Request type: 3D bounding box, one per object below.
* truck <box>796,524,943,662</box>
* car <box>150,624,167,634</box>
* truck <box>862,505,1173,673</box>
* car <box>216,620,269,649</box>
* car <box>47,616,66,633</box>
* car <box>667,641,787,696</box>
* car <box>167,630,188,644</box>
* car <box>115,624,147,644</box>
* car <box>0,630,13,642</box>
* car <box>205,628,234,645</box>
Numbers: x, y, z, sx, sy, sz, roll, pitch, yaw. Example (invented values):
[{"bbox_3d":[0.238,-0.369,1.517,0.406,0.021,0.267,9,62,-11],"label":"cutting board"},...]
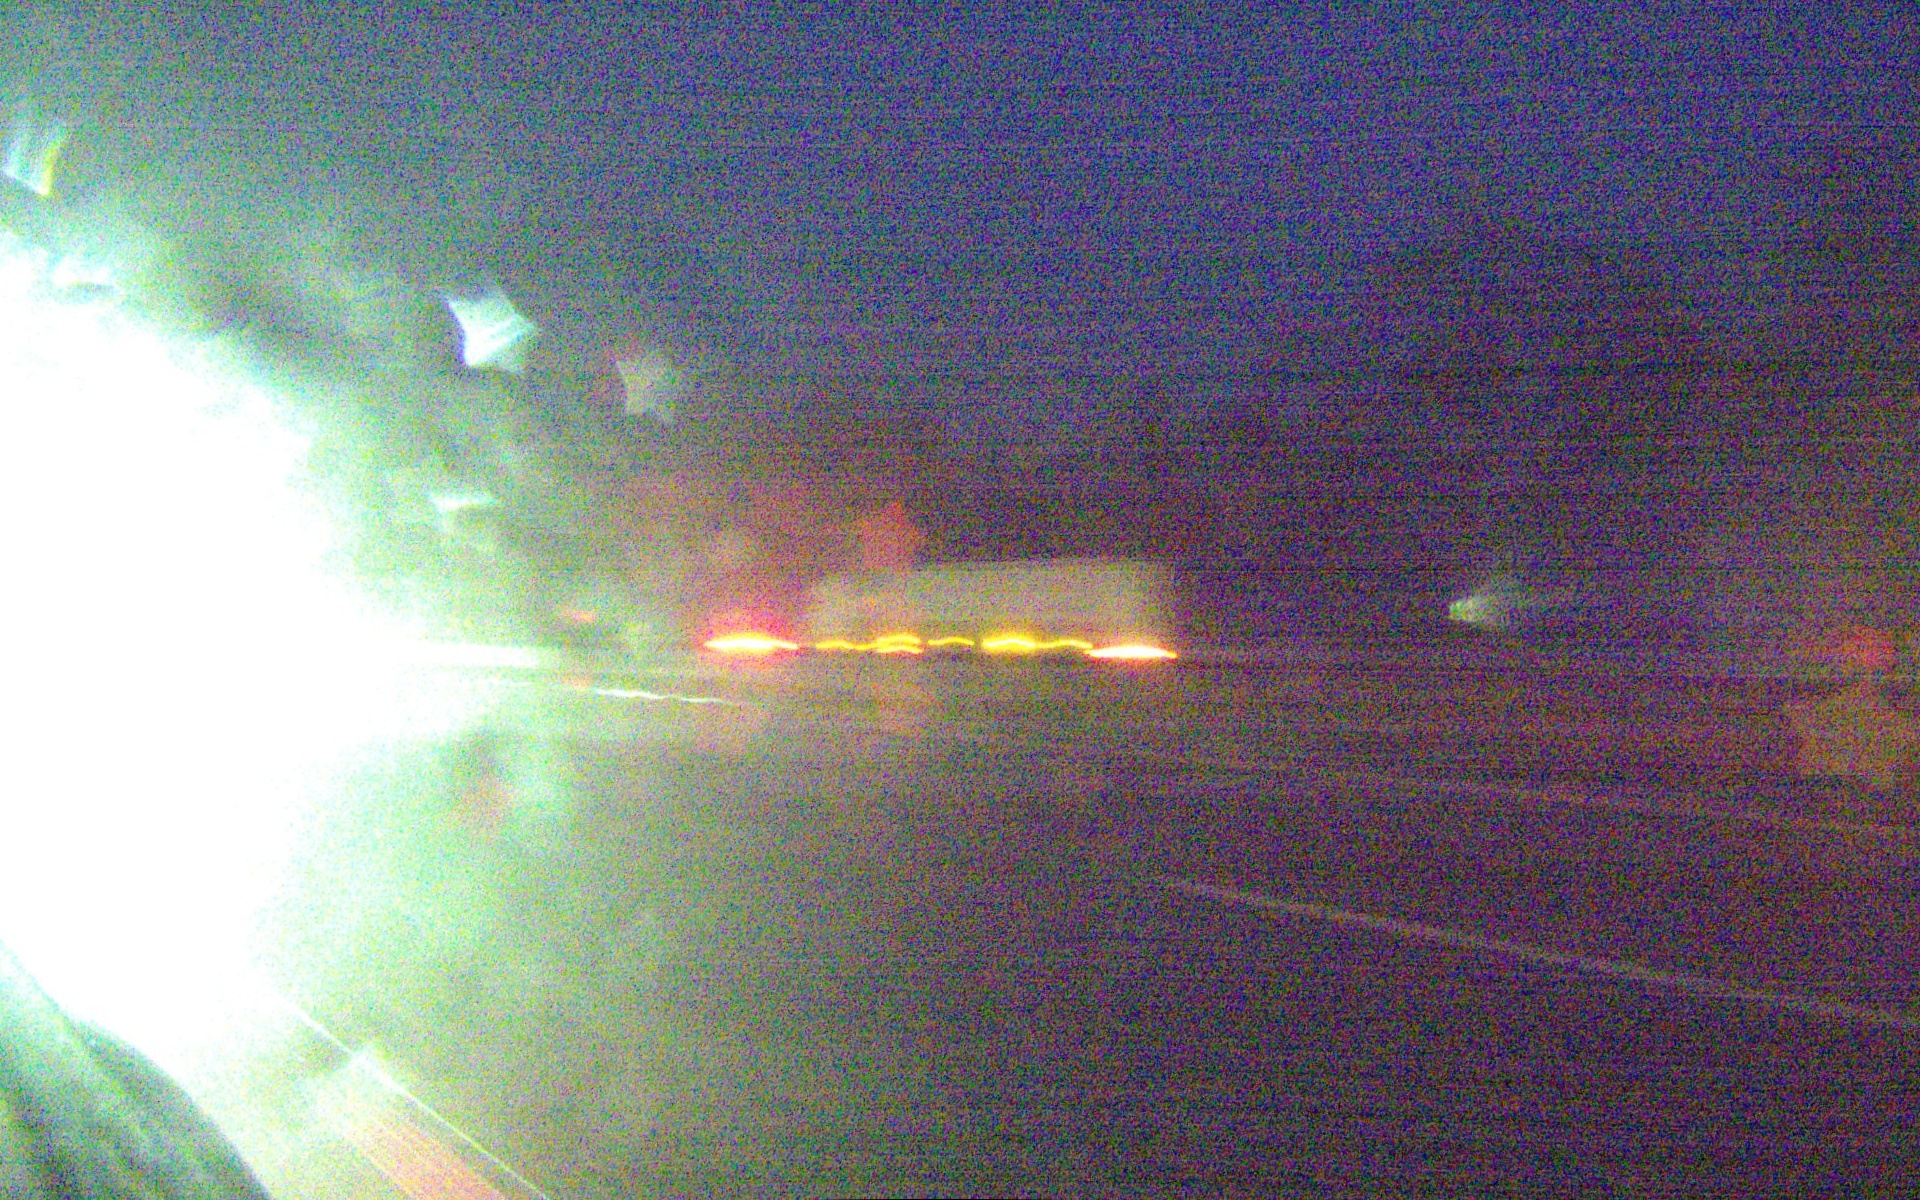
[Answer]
[{"bbox_3d":[-4.007,-0.256,44.326,5.874,5.634,3.206,-1,0,40],"label":"truck"},{"bbox_3d":[-150.092,5.459,189.401,4.173,1.802,1.870,-1,0,42],"label":"car"},{"bbox_3d":[1.787,-0.316,39.394,12.787,5.634,3.206,-1,0,41],"label":"truck"},{"bbox_3d":[-46.584,2.199,65.706,4.393,1.767,1.702,-1,0,39],"label":"car"},{"bbox_3d":[-160.390,4.348,179.680,4.718,2.915,2.131,-1,0,42],"label":"car"},{"bbox_3d":[-7.362,2.104,31.855,3.998,1.524,1.639,-1,0,41],"label":"car"},{"bbox_3d":[-101.550,4.831,131.314,3.412,1.705,1.619,-1,0,42],"label":"car"},{"bbox_3d":[-84.947,3.489,103.693,4.142,1.920,1.887,-1,0,42],"label":"car"},{"bbox_3d":[-128.357,4.807,135.662,3.523,1.557,1.700,-1,0,42],"label":"car"},{"bbox_3d":[-82.961,4.053,113.326,3.812,1.724,1.850,-1,0,42],"label":"car"}]
